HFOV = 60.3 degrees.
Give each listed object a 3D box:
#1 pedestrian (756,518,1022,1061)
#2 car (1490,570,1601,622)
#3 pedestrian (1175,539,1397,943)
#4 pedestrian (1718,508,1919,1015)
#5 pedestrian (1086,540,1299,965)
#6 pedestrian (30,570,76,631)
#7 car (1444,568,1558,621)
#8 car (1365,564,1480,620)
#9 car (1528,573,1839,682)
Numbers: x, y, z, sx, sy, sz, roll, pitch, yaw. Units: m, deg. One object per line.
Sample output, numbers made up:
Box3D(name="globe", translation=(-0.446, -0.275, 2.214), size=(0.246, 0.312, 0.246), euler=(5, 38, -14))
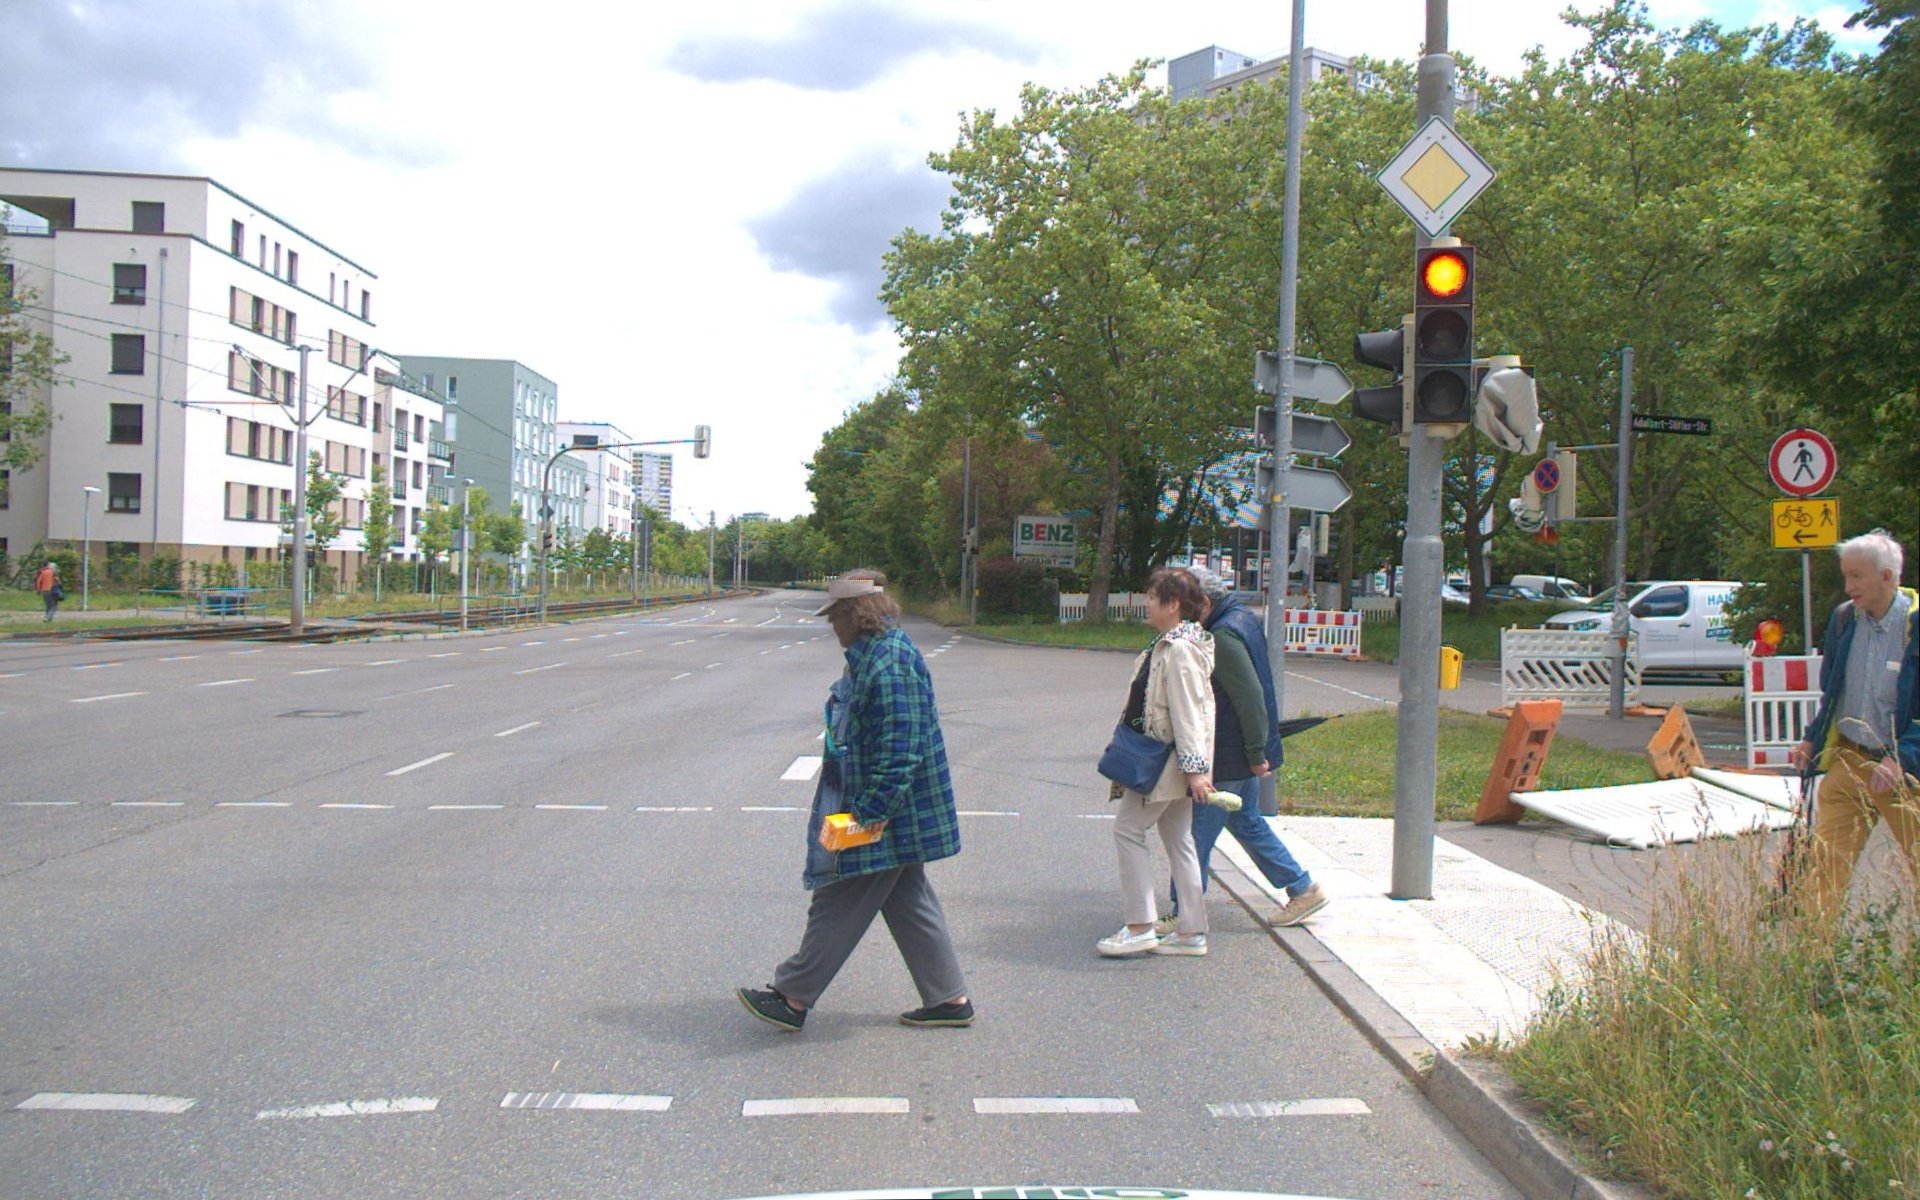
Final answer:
Box3D(name="pedestrian", translation=(-0.265, 0.595, 5.607), size=(0.807, 1.700, 0.732), euler=(1, 0, -9))
Box3D(name="car", translation=(23.936, -0.185, 67.706), size=(1.974, 2.049, 3.957), euler=(0, 1, -32))
Box3D(name="pedestrian", translation=(1.401, 0.578, 7.251), size=(0.850, 1.663, 0.766), euler=(1, 1, 4))
Box3D(name="pedestrian", translation=(3.631, 0.571, 6.402), size=(1.004, 1.805, 0.934), euler=(0, 0, -42))
Box3D(name="pedestrian", translation=(0.946, 0.597, 6.910), size=(0.805, 1.668, 0.734), euler=(1, 0, 4))
Box3D(name="pedestrian", translation=(-23.183, 0.019, 42.287), size=(0.814, 1.542, 0.636), euler=(1, 0, -1))
Box3D(name="car", translation=(21.368, -0.237, 65.470), size=(1.974, 2.049, 3.957), euler=(0, 1, -32))
Box3D(name="car", translation=(17.525, -0.317, 62.835), size=(1.974, 2.049, 3.957), euler=(0, 1, -32))
Box3D(name="car", translation=(13.433, 0.499, 30.868), size=(4.976, 1.906, 1.947), euler=(1, 0, -5))
